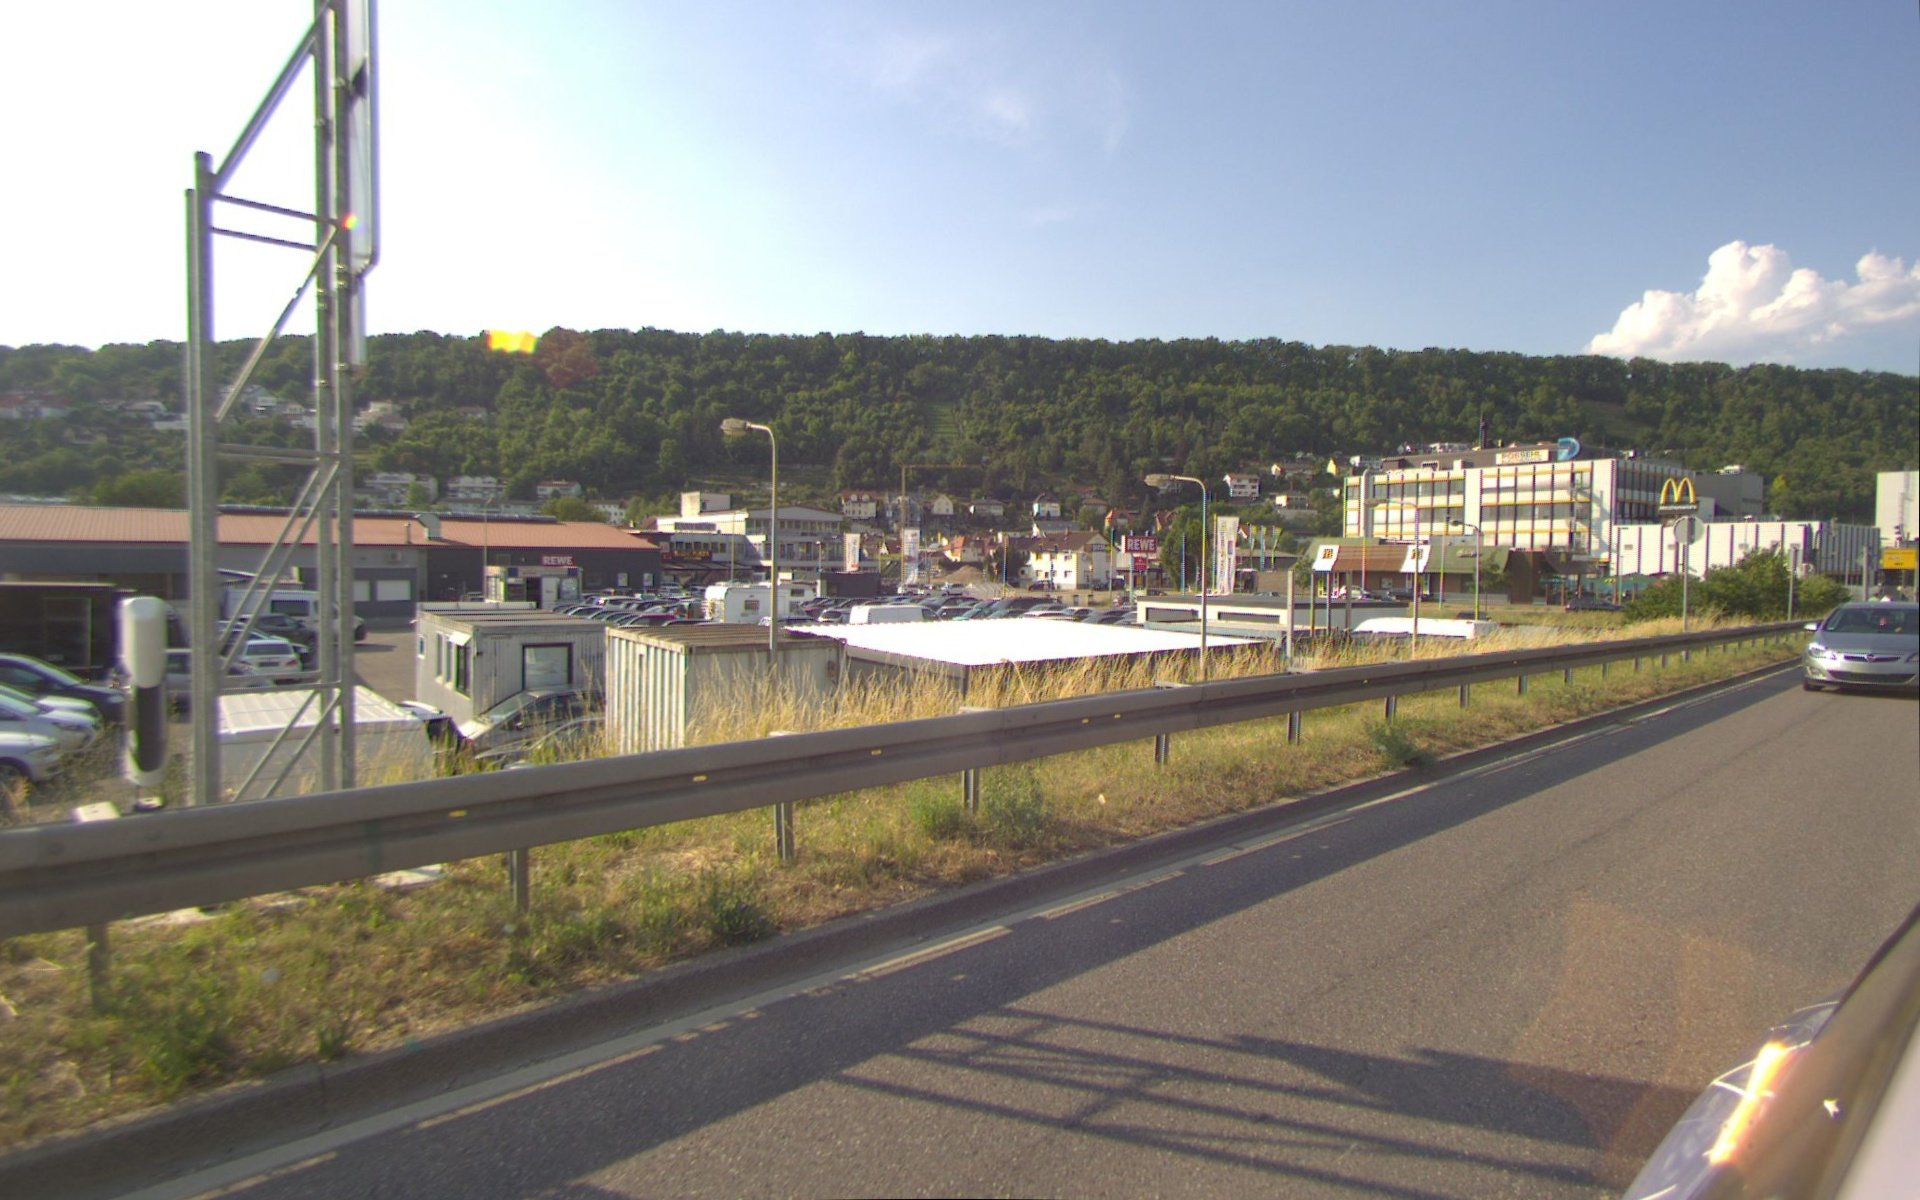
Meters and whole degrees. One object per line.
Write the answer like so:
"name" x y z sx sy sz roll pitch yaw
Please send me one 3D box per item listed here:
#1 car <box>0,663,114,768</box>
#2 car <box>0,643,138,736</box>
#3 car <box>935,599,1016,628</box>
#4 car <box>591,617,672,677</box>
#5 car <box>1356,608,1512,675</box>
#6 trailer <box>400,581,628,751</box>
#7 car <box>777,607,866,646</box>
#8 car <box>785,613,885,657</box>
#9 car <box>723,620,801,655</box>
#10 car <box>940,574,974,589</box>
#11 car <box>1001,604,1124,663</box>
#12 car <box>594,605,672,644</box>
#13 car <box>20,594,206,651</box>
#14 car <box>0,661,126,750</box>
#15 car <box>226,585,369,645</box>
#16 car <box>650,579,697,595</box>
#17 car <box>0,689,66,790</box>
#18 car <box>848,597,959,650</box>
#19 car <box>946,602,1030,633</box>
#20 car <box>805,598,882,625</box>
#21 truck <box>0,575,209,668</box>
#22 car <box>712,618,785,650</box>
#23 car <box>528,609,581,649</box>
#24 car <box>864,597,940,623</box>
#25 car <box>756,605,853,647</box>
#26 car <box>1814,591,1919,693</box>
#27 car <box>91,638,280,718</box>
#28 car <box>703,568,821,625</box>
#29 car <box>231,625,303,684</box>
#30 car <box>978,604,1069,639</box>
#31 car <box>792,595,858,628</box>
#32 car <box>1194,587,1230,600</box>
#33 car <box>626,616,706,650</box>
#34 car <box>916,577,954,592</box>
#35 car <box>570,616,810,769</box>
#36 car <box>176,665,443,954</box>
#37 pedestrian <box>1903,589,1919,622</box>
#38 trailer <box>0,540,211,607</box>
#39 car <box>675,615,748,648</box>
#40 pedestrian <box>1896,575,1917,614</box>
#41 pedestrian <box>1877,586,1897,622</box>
"car" -18.753 2.216 18.860 4.413 1.722 1.971 -2 1 -36
"car" -20.975 1.998 22.590 3.945 1.824 1.602 -2 1 -36
"car" 0.908 0.763 59.573 4.386 1.585 1.765 -1 1 -21
"car" -12.641 1.739 38.800 1.797 2.039 3.645 -1 1 -38
"car" 14.615 1.220 31.366 1.803 1.838 3.995 -1 1 -40
"trailer" -10.997 1.286 24.406 3.297 3.364 7.901 -1 1 -37
"car" -6.649 1.243 48.708 3.928 1.660 1.759 -2 1 -39
"car" -5.328 1.467 43.348 3.928 1.660 1.759 -2 1 -39
"car" -7.446 1.393 38.091 2.707 1.138 1.279 -1 1 -19
"car" -0.328 -2.195 120.555 3.934 1.676 1.788 -2 1 -43
"car" 3.923 1.196 38.136 4.741 1.976 1.759 -2 1 -39
"car" -15.178 1.106 47.006 3.367 1.636 1.810 -1 1 -19
"car" -25.812 0.633 31.060 4.266 1.562 1.799 -2 1 -37
"car" -19.815 2.212 20.930 3.818 1.583 1.602 -2 1 -36
"car" -29.594 0.613 45.311 5.229 2.468 1.999 -2 1 -37
"car" -29.963 -1.381 105.915 4.509 1.607 1.834 -2 4 -44
"car" -17.562 2.450 16.878 3.794 1.530 1.602 -2 1 -36
"car" -2.607 1.036 47.870 5.202 2.274 1.759 -2 1 -39
"car" 1.580 0.972 57.095 4.388 1.585 1.764 -1 1 -26
"car" -7.902 0.765 68.783 4.901 1.710 1.765 -1 1 -20
"truck" -24.791 0.540 28.405 5.863 2.400 1.998 -2 1 -39
"car" -8.476 1.361 40.525 2.707 1.138 1.279 -1 1 -19
"car" -19.163 1.339 47.728 1.615 1.689 3.650 -1 1 -33
"car" -3.599 0.582 62.172 4.386 1.478 1.764 -1 1 -13
"car" -6.903 1.112 45.025 3.928 1.660 1.759 -2 1 -39
"car" 15.318 0.605 16.418 3.817 1.408 1.689 -2 2 -42
"car" -20.145 1.964 26.512 3.818 1.722 1.602 -2 1 -36
"car" -9.484 -0.218 48.866 5.371 2.581 1.759 -2 1 -39
"car" -22.101 1.670 32.296 1.766 1.562 4.346 -1 1 -34
"car" 3.336 1.060 52.271 4.741 1.585 1.759 -2 1 -39
"car" -7.429 0.600 55.981 1.708 1.649 4.160 -1 1 24
"car" 27.467 -0.699 110.467 1.658 1.438 3.652 -1 1 -37
"car" -12.851 1.420 44.230 3.067 1.315 1.376 -2 1 -37
"car" -2.813 -1.737 115.580 4.268 1.582 1.834 -2 4 -44
"car" -4.033 1.180 14.722 1.868 1.772 3.995 -1 1 -40
"car" -7.710 1.996 11.653 1.964 2.039 5.895 -1 1 -39
"pedestrian" 48.789 0.291 51.879 0.572 1.634 0.613 3 3 43
"trailer" -28.161 -0.857 32.823 6.168 2.047 1.999 -2 1 -37
"car" -10.419 1.300 42.412 2.810 1.243 1.363 -1 1 -19
"pedestrian" 46.410 -0.274 49.621 0.847 1.906 0.619 -1 3 -44
"pedestrian" 47.028 0.176 51.350 0.527 1.770 0.533 -1 5 -37
